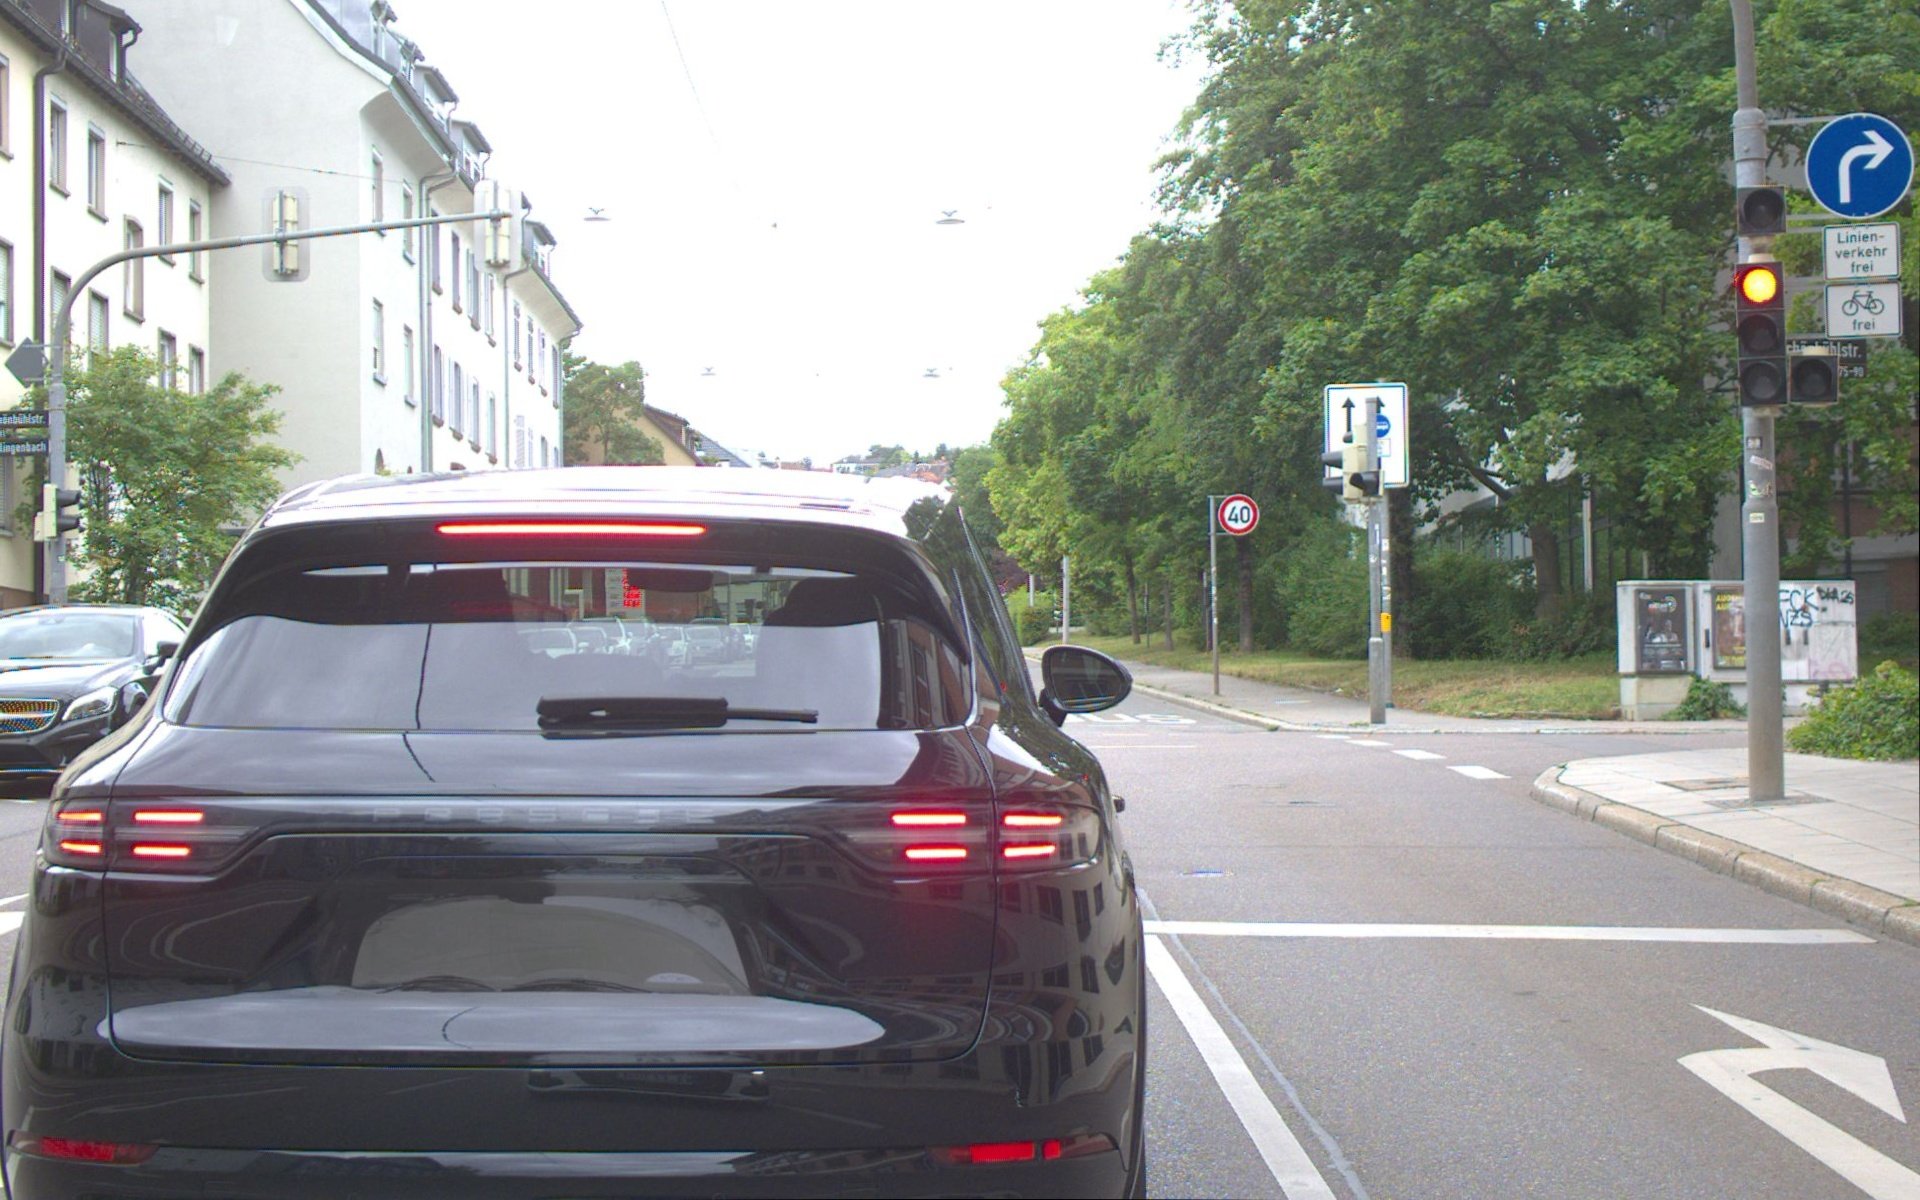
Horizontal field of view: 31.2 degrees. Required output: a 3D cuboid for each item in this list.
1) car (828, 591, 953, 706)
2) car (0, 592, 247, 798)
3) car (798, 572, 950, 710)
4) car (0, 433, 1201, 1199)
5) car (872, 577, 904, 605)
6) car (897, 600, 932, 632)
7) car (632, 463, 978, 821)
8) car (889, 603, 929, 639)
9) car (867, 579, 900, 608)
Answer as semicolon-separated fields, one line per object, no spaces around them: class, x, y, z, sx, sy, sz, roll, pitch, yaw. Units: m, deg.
car;-1.036;0.707;52.559;1.827;1.599;3.859;1;1;0
car;-6.889;0.683;26.515;1.785;1.414;4.670;-2;0;0
car;-1.060;0.483;43.841;1.827;1.599;4.135;1;1;0
car;-0.692;0.557;7.244;2.048;1.660;4.267;1;1;0
car;-4.395;-0.546;210.289;1.827;1.599;4.135;1;1;0
car;-2.394;0.846;182.504;1.827;1.599;4.135;1;1;0
car;-0.909;0.206;21.916;1.965;2.035;4.135;1;1;0
car;-2.377;0.976;162.120;1.827;1.599;4.135;1;1;0
car;-4.493;-0.393;202.964;1.827;1.599;4.135;1;1;0
